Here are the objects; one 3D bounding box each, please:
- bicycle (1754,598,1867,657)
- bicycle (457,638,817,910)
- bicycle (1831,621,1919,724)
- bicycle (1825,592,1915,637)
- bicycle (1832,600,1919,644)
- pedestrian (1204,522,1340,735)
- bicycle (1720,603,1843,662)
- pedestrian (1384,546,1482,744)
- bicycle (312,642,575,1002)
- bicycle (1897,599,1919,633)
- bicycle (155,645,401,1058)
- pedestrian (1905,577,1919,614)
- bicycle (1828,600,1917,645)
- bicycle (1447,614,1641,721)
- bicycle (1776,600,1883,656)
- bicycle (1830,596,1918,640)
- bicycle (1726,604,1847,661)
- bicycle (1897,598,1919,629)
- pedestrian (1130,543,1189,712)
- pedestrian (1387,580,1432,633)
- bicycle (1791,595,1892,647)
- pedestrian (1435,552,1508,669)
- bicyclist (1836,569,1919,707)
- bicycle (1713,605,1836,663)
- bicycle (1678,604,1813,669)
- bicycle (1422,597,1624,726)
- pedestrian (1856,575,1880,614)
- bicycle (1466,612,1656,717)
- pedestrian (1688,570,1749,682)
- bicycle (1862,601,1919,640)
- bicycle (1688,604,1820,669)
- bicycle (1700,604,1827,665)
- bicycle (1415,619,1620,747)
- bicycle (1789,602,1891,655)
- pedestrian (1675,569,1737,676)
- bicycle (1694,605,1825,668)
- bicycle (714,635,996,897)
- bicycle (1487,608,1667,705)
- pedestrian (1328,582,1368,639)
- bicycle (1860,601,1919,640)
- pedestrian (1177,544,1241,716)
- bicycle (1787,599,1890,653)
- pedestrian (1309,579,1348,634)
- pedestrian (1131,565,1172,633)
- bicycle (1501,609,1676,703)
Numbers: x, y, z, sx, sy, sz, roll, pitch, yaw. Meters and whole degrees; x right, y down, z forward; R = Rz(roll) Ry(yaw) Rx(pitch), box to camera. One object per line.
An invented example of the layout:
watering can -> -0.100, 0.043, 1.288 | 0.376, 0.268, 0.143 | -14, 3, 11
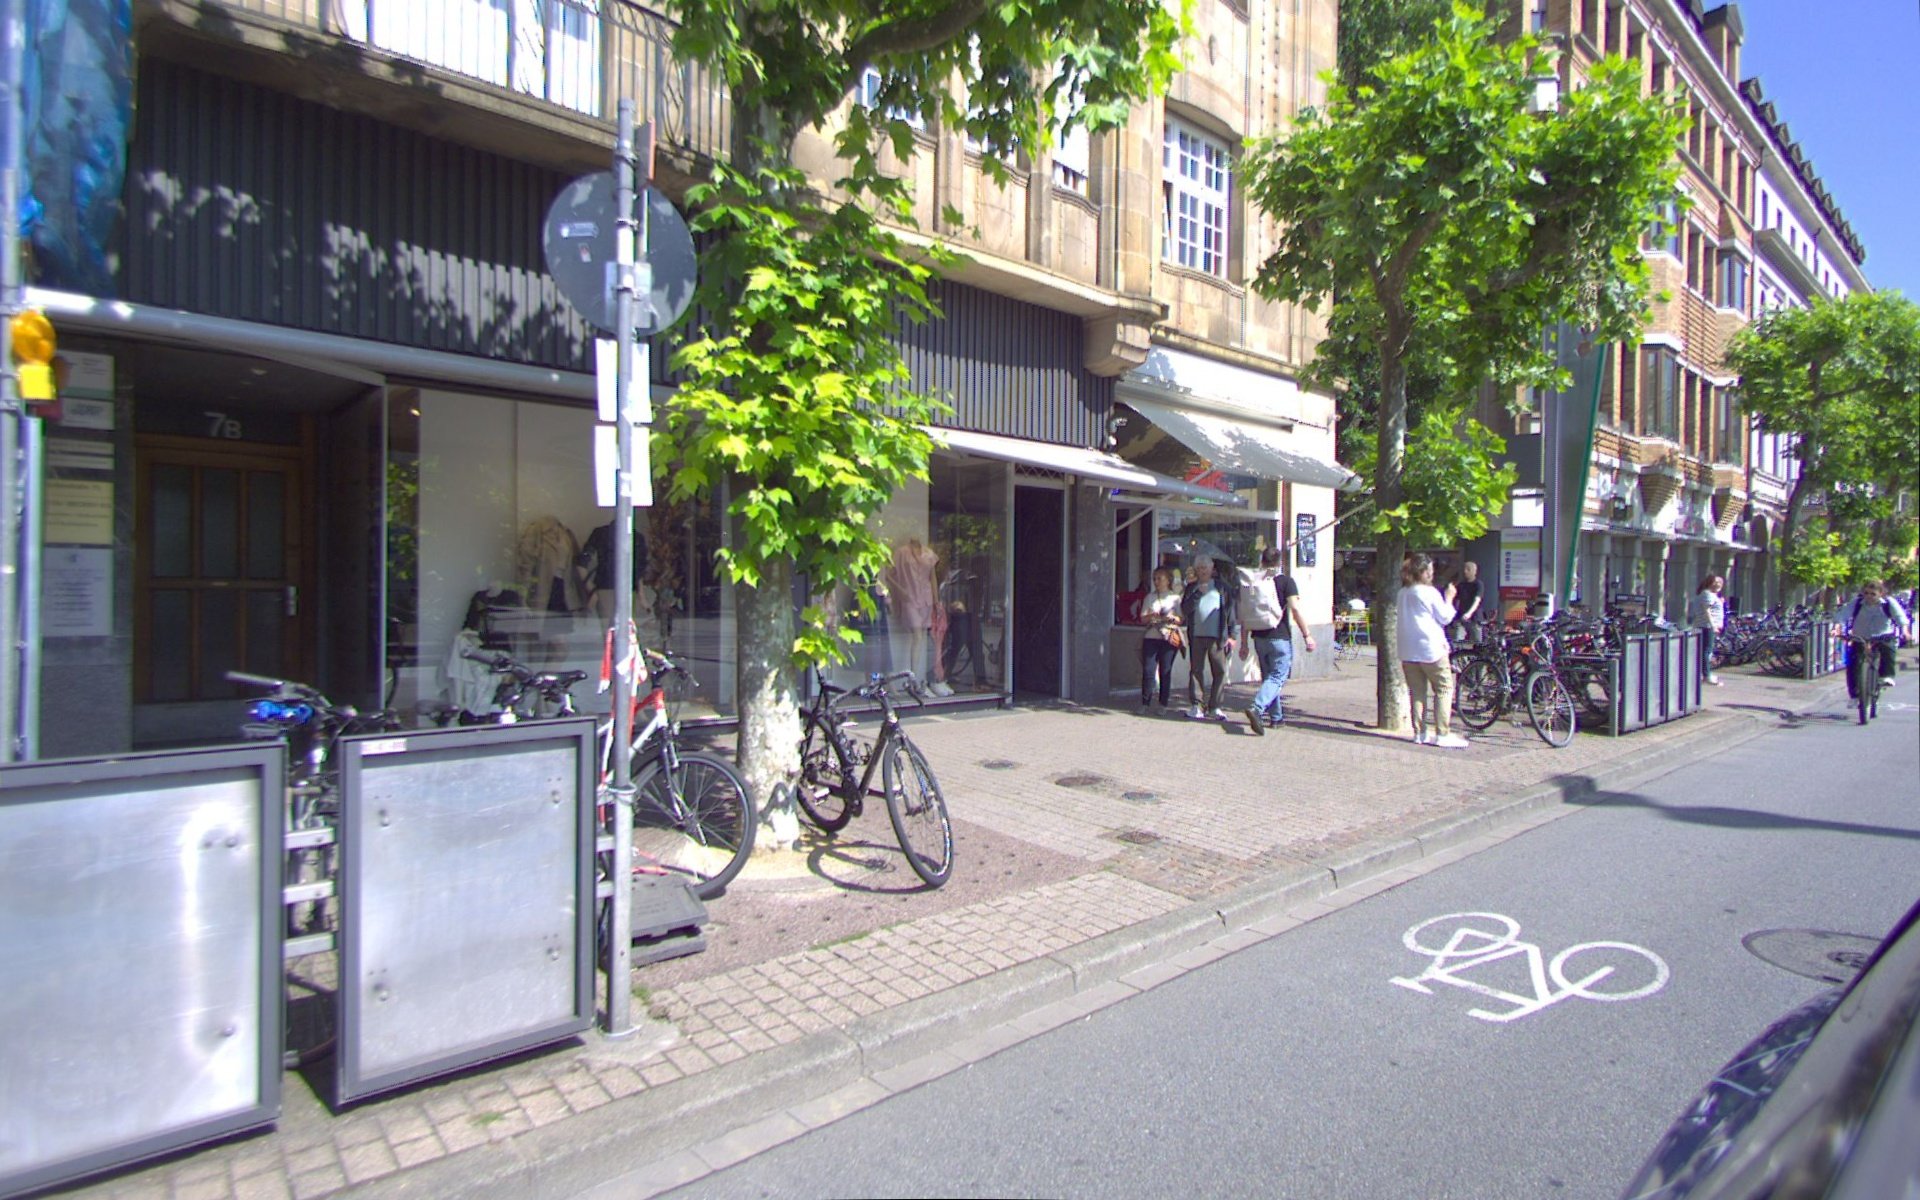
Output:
bicycle -> 17.600, 0.553, 20.979 | 0.475, 1.161, 1.755 | 0, 1, -42
bicycle -> -1.517, 0.721, 4.657 | 1.740, 1.031, 0.478 | 0, 0, 26
bicycle -> 11.187, 0.827, 12.256 | 1.866, 1.107, 0.735 | -1, -1, -43
bicycle -> 24.145, 0.373, 26.884 | 0.475, 1.161, 1.755 | 0, 1, -42
bicycle -> 25.292, 0.600, 27.985 | 0.491, 1.161, 1.755 | 0, 1, -42
pedestrian -> 2.908, 0.229, 9.474 | 0.874, 1.871, 0.817 | -1, 2, -33
bicycle -> 15.473, 0.590, 19.105 | 0.475, 1.031, 1.755 | 0, 1, -42
pedestrian -> 4.280, 0.372, 9.149 | 0.656, 1.704, 0.644 | 1, 1, 42
bicycle -> -2.087, 0.725, 3.966 | 0.475, 1.031, 1.755 | 0, 1, -42
bicycle -> 33.557, 0.547, 34.921 | 0.475, 1.161, 1.755 | 0, 1, -42
bicycle -> -2.467, 0.723, 3.573 | 0.475, 1.031, 1.755 | 0, 1, -42
pedestrian -> 47.415, -0.221, 50.224 | 0.764, 1.816, 0.634 | 0, -1, -43
bicycle -> 24.521, 0.581, 27.217 | 0.475, 1.161, 1.755 | 0, 1, -42
bicycle -> 6.311, 0.694, 11.021 | 0.547, 1.031, 1.755 | 0, 1, -42
bicycle -> 19.345, 0.602, 22.546 | 0.475, 1.161, 1.755 | 0, 1, -42
bicycle -> 24.877, 0.471, 27.578 | 0.475, 1.161, 1.755 | 0, 1, -42
bicycle -> 15.865, 0.603, 19.468 | 0.475, 1.031, 1.755 | 0, 1, -42
bicycle -> 33.182, 0.466, 34.532 | 0.475, 1.082, 1.755 | 0, 1, -42
pedestrian -> 2.050, 0.276, 10.421 | 0.467, 1.703, 0.382 | 0, 1, -7
pedestrian -> 11.096, 0.166, 24.992 | 0.628, 1.271, 0.793 | -1, -1, -37
bicycle -> 20.731, 0.470, 23.818 | 0.475, 1.161, 1.755 | 0, 1, -42
pedestrian -> 8.134, 0.145, 16.099 | 0.967, 1.803, 0.670 | -1, 1, -37
bicyclist -> 11.225, 0.443, 12.299 | 0.765, 1.597, 0.749 | 0, -1, -42
bicycle -> 15.020, 0.609, 18.692 | 0.475, 0.997, 1.719 | 0, 1, -42
bicycle -> 13.238, 0.592, 17.104 | 0.475, 1.031, 1.755 | 0, 1, -42
bicycle -> 5.878, 0.595, 10.653 | 0.569, 1.196, 1.755 | 0, 2, -42
pedestrian -> 40.213, -0.253, 44.817 | 0.664, 1.718, 0.658 | 0, -1, -39
bicycle -> 6.762, 0.691, 11.467 | 0.577, 1.030, 1.755 | 0, 2, -42
pedestrian -> 11.637, 0.381, 15.553 | 0.596, 1.646, 0.637 | 3, 3, 30
bicycle -> 29.009, 0.611, 31.199 | 0.518, 1.161, 1.755 | 0, 1, -42
bicycle -> 13.644, 0.604, 17.431 | 0.475, 1.031, 1.755 | 0, 1, -42
bicycle -> 14.529, 0.595, 18.343 | 0.475, 1.031, 1.755 | 0, 1, -42
bicycle -> 5.234, 0.733, 9.636 | 0.644, 1.031, 1.762 | 0, 1, -17
bicycle -> 20.384, 0.639, 23.467 | 0.475, 1.161, 1.755 | 0, 1, -42
pedestrian -> 11.949, 0.335, 16.211 | 0.695, 1.646, 0.691 | 2, 2, 43
bicycle -> 14.022, 0.612, 17.784 | 0.475, 1.031, 1.755 | 0, 1, -42
bicycle -> -0.598, 0.733, 5.110 | 0.475, 1.031, 1.755 | 0, 1, -42
bicycle -> 7.213, 0.622, 11.903 | 0.475, 1.031, 1.755 | 0, 1, -42
pedestrian -> 8.909, 0.233, 23.238 | 0.636, 1.271, 0.783 | -2, -1, 37
bicycle -> 28.605, 0.616, 30.829 | 0.475, 1.161, 1.755 | 0, 1, -42
pedestrian -> 2.536, 0.285, 10.342 | 0.528, 1.703, 0.499 | 1, 2, 6
bicycle -> 20.061, 0.567, 23.136 | 0.475, 1.161, 1.755 | 0, 1, -42
pedestrian -> 8.797, 0.159, 24.203 | 0.628, 1.271, 0.793 | -1, -1, 2
pedestrian -> 2.962, -0.017, 15.677 | 0.398, 1.036, 0.455 | 0, -1, -41
bicycle -> 7.623, 0.644, 12.335 | 0.475, 1.031, 1.755 | 0, 1, -42
